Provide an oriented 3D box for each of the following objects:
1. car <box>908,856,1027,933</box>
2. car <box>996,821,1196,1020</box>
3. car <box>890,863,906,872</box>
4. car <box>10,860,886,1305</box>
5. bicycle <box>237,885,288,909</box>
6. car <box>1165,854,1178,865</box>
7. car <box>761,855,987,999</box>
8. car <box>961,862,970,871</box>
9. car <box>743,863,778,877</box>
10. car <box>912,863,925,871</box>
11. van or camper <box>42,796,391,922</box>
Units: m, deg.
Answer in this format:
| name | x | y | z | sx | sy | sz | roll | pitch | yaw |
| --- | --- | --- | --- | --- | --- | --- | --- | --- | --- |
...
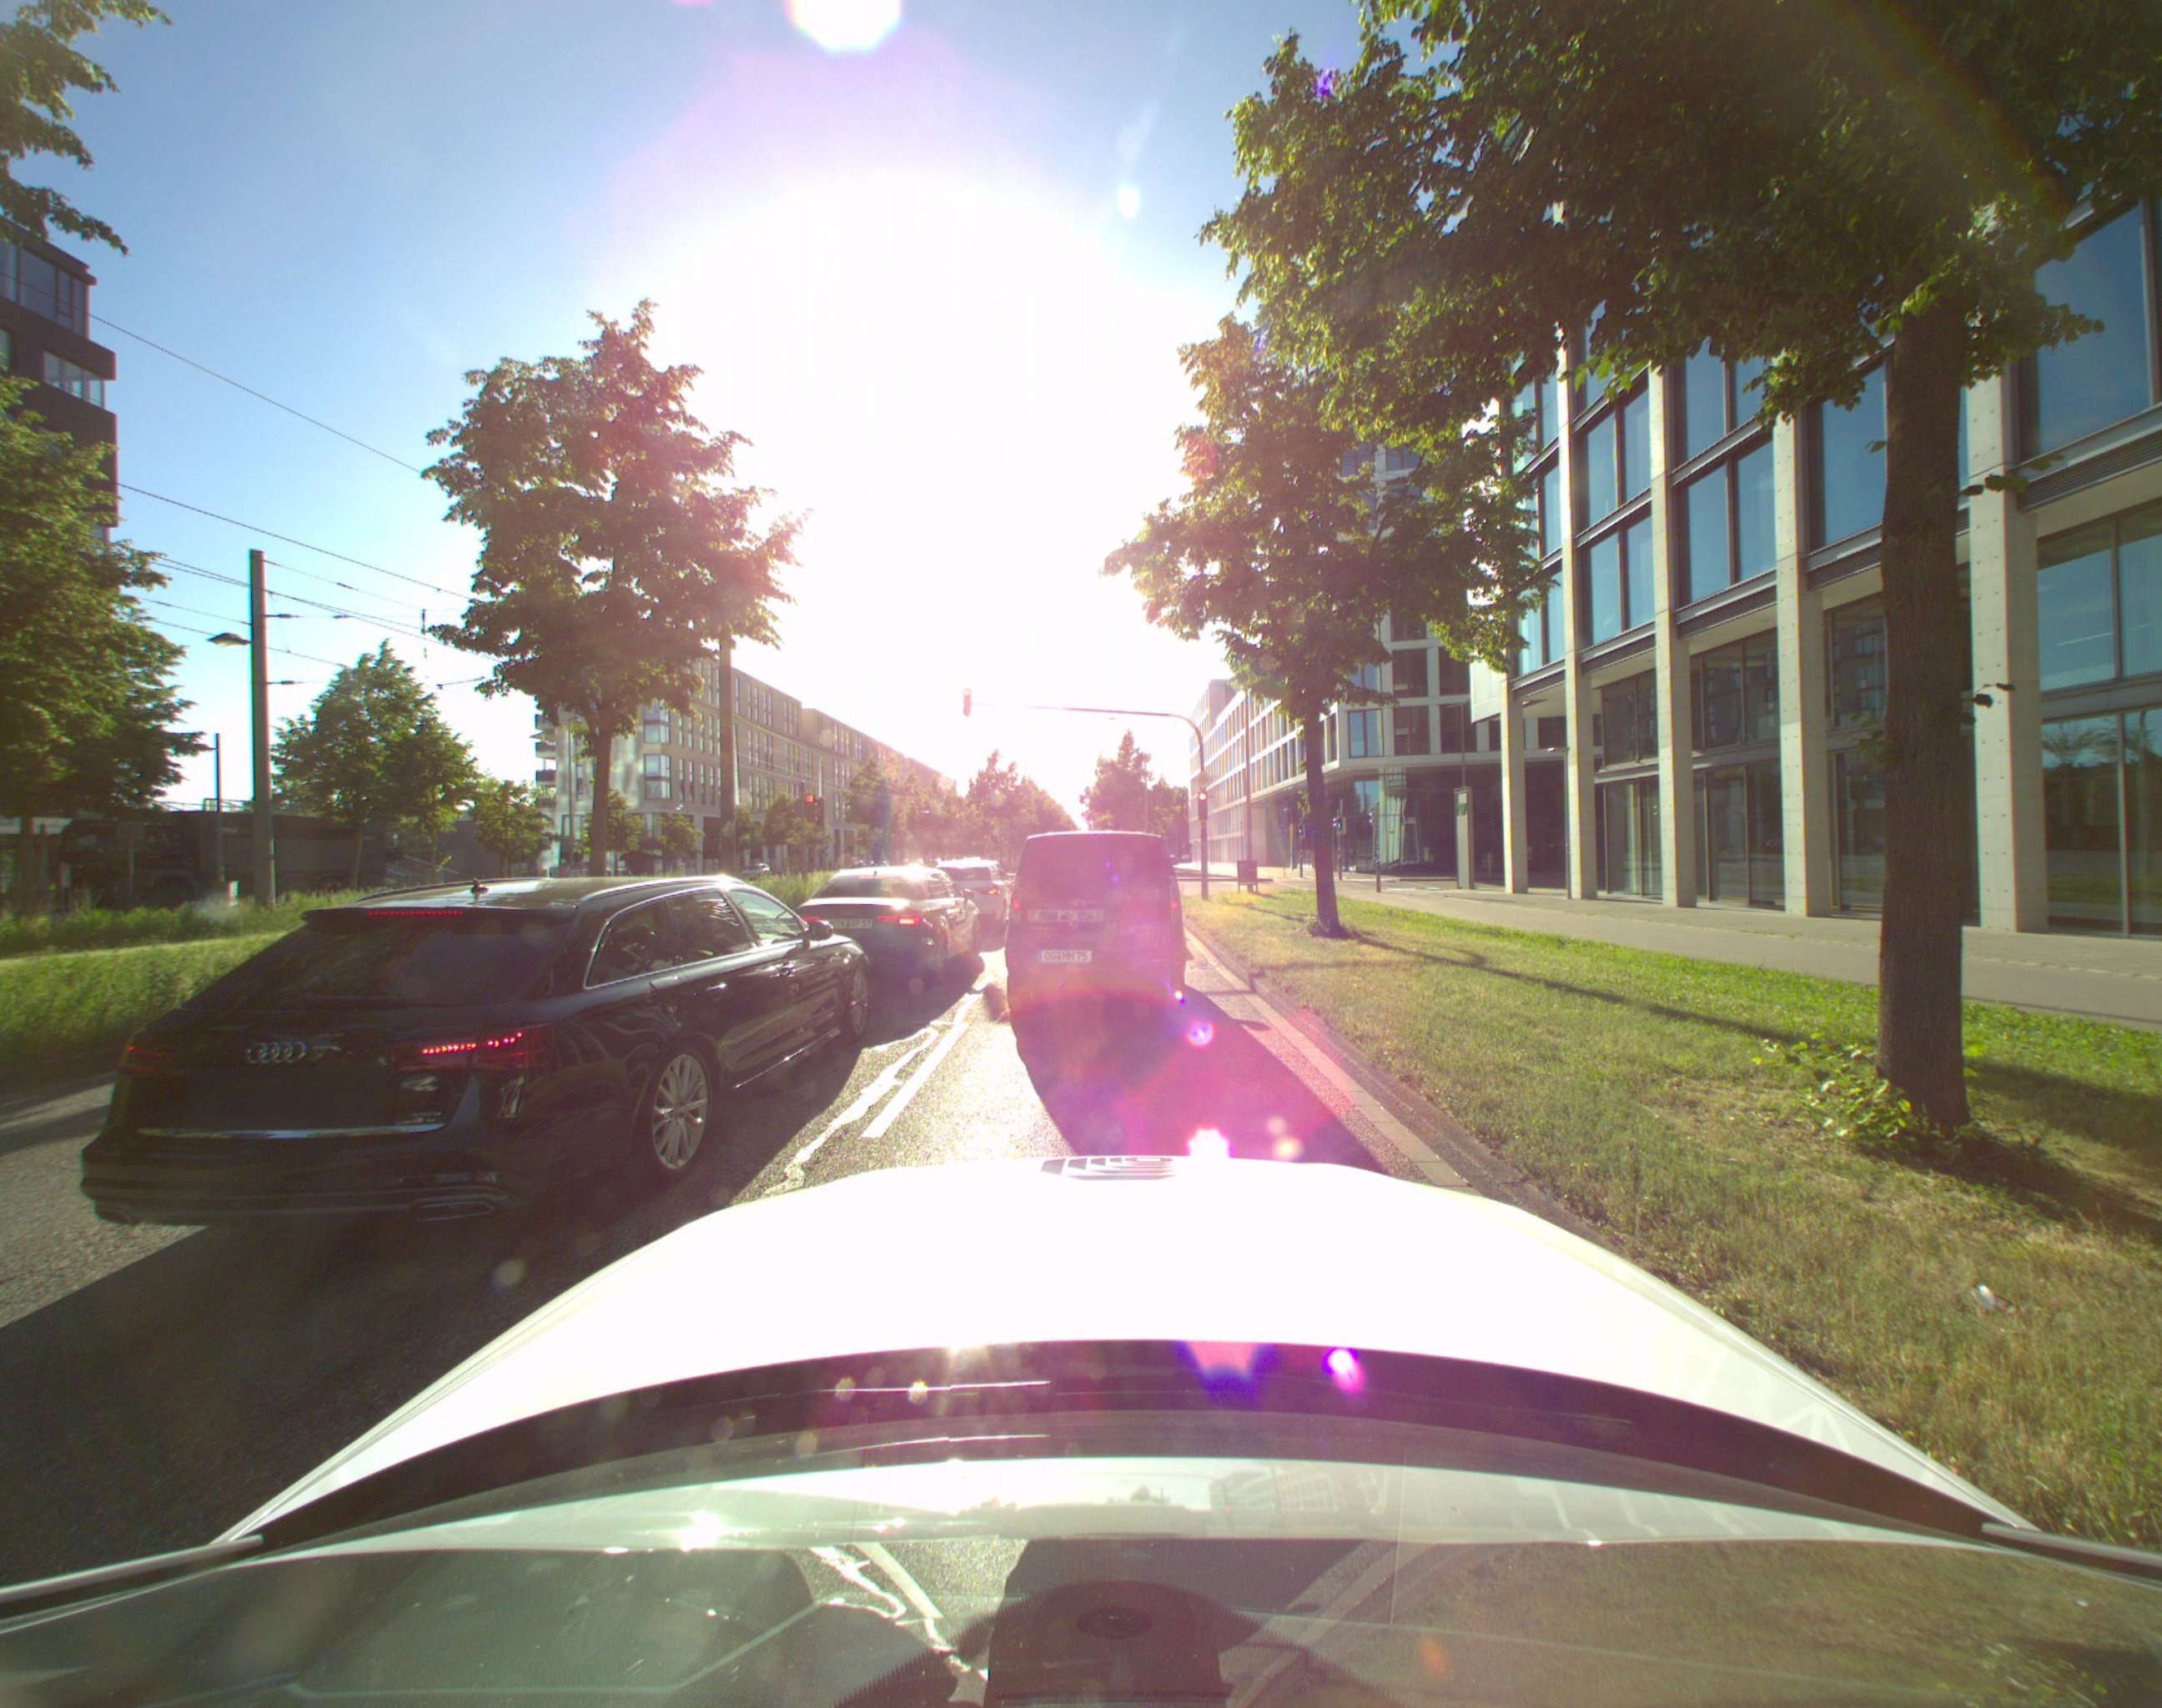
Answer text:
| name | x | y | z | sx | sy | sz | roll | pitch | yaw |
| --- | --- | --- | --- | --- | --- | --- | --- | --- | --- |
| car | -2.310 | 0.781 | 17.692 | 1.801 | 1.434 | 4.115 | -1 | 0 | 2 |
| car | 0.227 | 0.607 | 9.536 | 1.801 | 1.794 | 4.115 | -1 | 0 | 2 |
| car | -30.735 | 2.231 | 136.669 | 1.769 | 1.528 | 3.807 | -1 | 0 | 1 |
| car | -2.728 | 0.807 | 5.060 | 1.801 | 1.457 | 4.509 | -1 | 0 | 2 |
| bicycle | -38.735 | 2.023 | 38.572 | 0.525 | 1.034 | 1.848 | 0 | -1 | 2 |
| car | 14.201 | 0.812 | 127.741 | 1.750 | 1.611 | 3.906 | -1 | 0 | 3 |
| car | -2.499 | 0.799 | 10.962 | 1.801 | 1.527 | 4.115 | -1 | 0 | 2 |
| car | -28.313 | 3.109 | 200.070 | 1.723 | 2.013 | 3.999 | -1 | 0 | -1 |
| car | -31.596 | 1.564 | 80.343 | 1.574 | 1.342 | 4.473 | -1 | 0 | 1 |
| car | -29.879 | 2.351 | 150.188 | 1.574 | 1.342 | 3.713 | -1 | 0 | 1 |
| van or camper | -33.531 | 0.196 | 32.608 | 2.743 | 4.192 | 10.234 | -1 | 0 | 2 |
